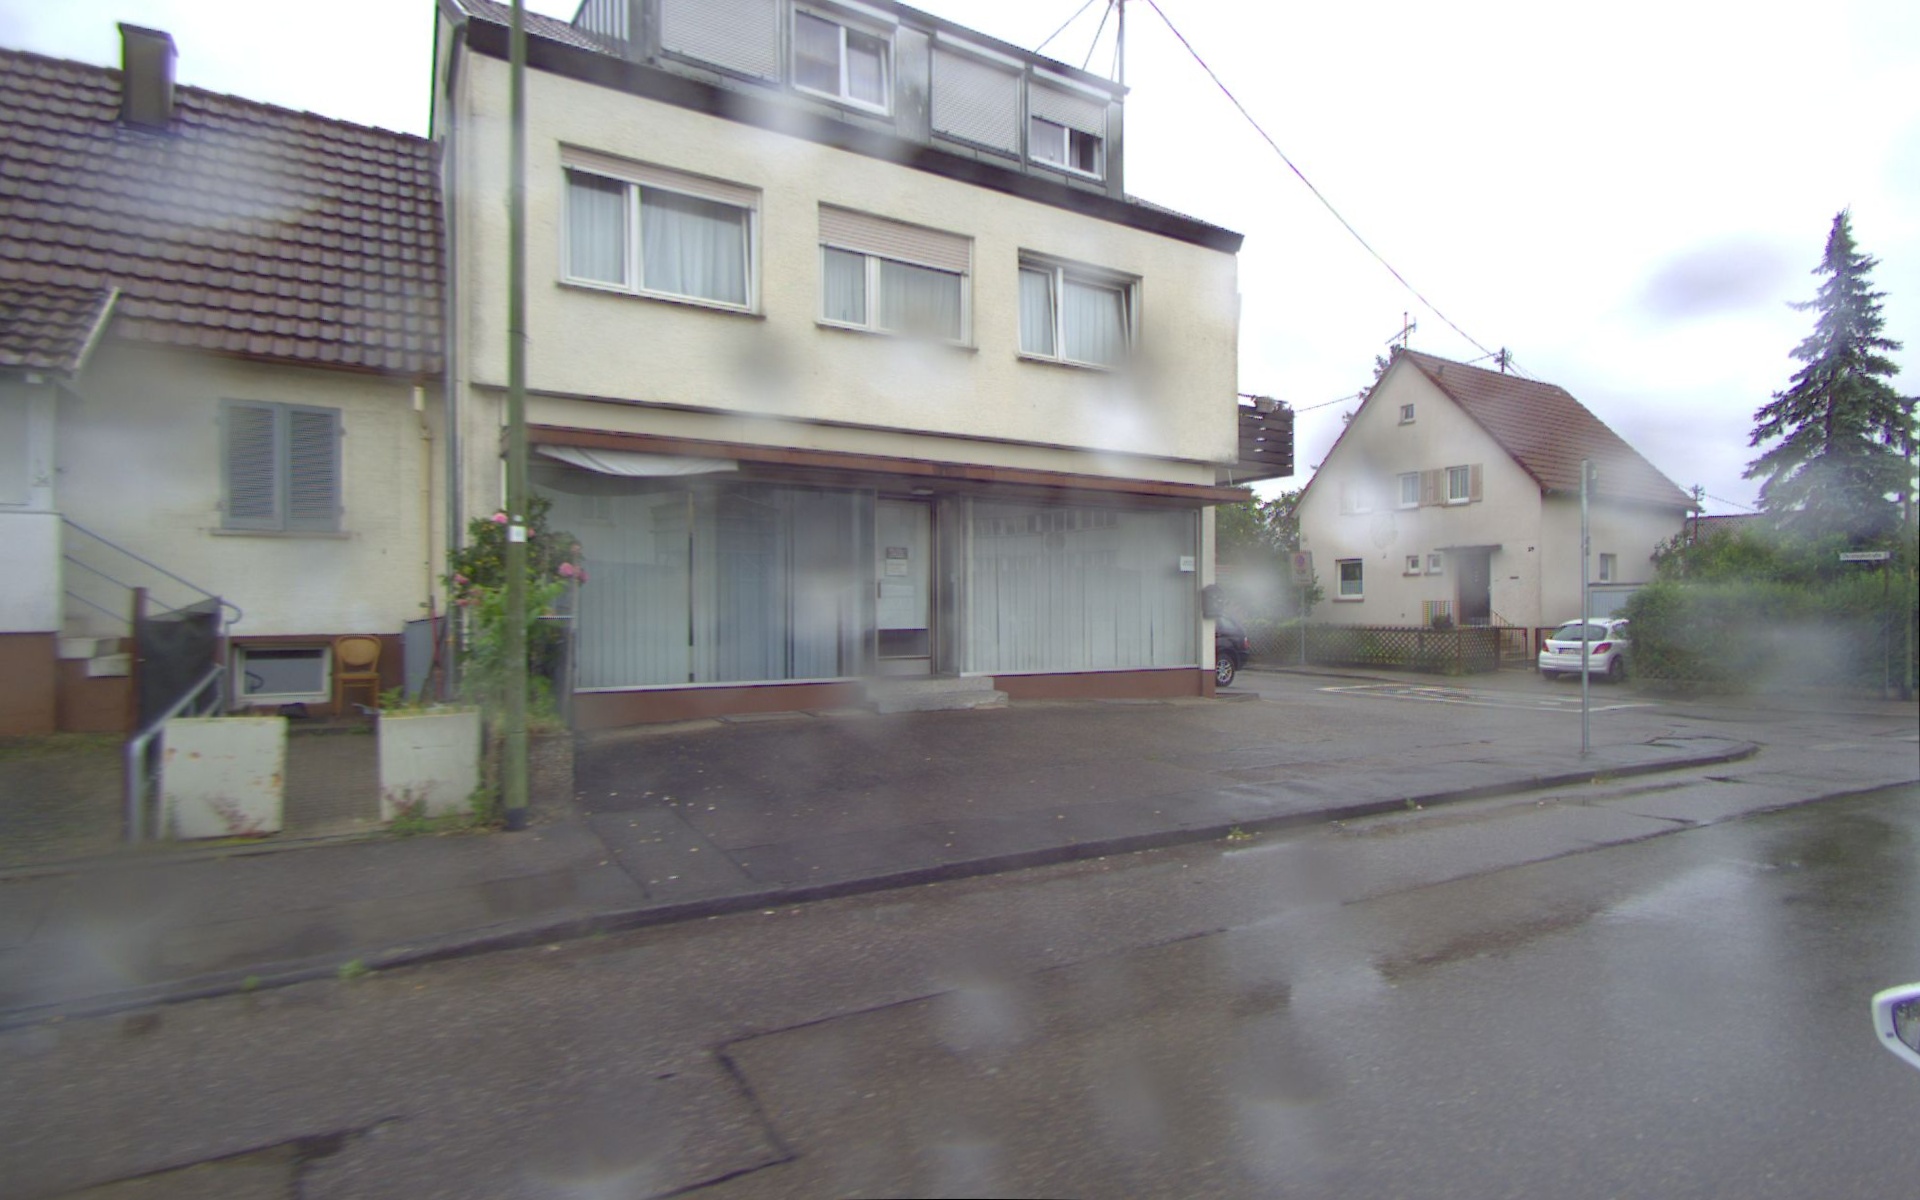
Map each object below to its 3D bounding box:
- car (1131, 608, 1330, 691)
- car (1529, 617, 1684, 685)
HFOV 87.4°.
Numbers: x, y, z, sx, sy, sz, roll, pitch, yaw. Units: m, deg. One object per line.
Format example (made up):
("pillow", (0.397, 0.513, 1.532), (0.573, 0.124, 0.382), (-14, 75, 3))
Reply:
("car", (6.280, 1.149, 23.142), (4.496, 1.680, 1.849), (4, -2, -32))
("car", (16.435, 1.245, 25.517), (3.954, 1.528, 1.785), (-1, 0, -32))
